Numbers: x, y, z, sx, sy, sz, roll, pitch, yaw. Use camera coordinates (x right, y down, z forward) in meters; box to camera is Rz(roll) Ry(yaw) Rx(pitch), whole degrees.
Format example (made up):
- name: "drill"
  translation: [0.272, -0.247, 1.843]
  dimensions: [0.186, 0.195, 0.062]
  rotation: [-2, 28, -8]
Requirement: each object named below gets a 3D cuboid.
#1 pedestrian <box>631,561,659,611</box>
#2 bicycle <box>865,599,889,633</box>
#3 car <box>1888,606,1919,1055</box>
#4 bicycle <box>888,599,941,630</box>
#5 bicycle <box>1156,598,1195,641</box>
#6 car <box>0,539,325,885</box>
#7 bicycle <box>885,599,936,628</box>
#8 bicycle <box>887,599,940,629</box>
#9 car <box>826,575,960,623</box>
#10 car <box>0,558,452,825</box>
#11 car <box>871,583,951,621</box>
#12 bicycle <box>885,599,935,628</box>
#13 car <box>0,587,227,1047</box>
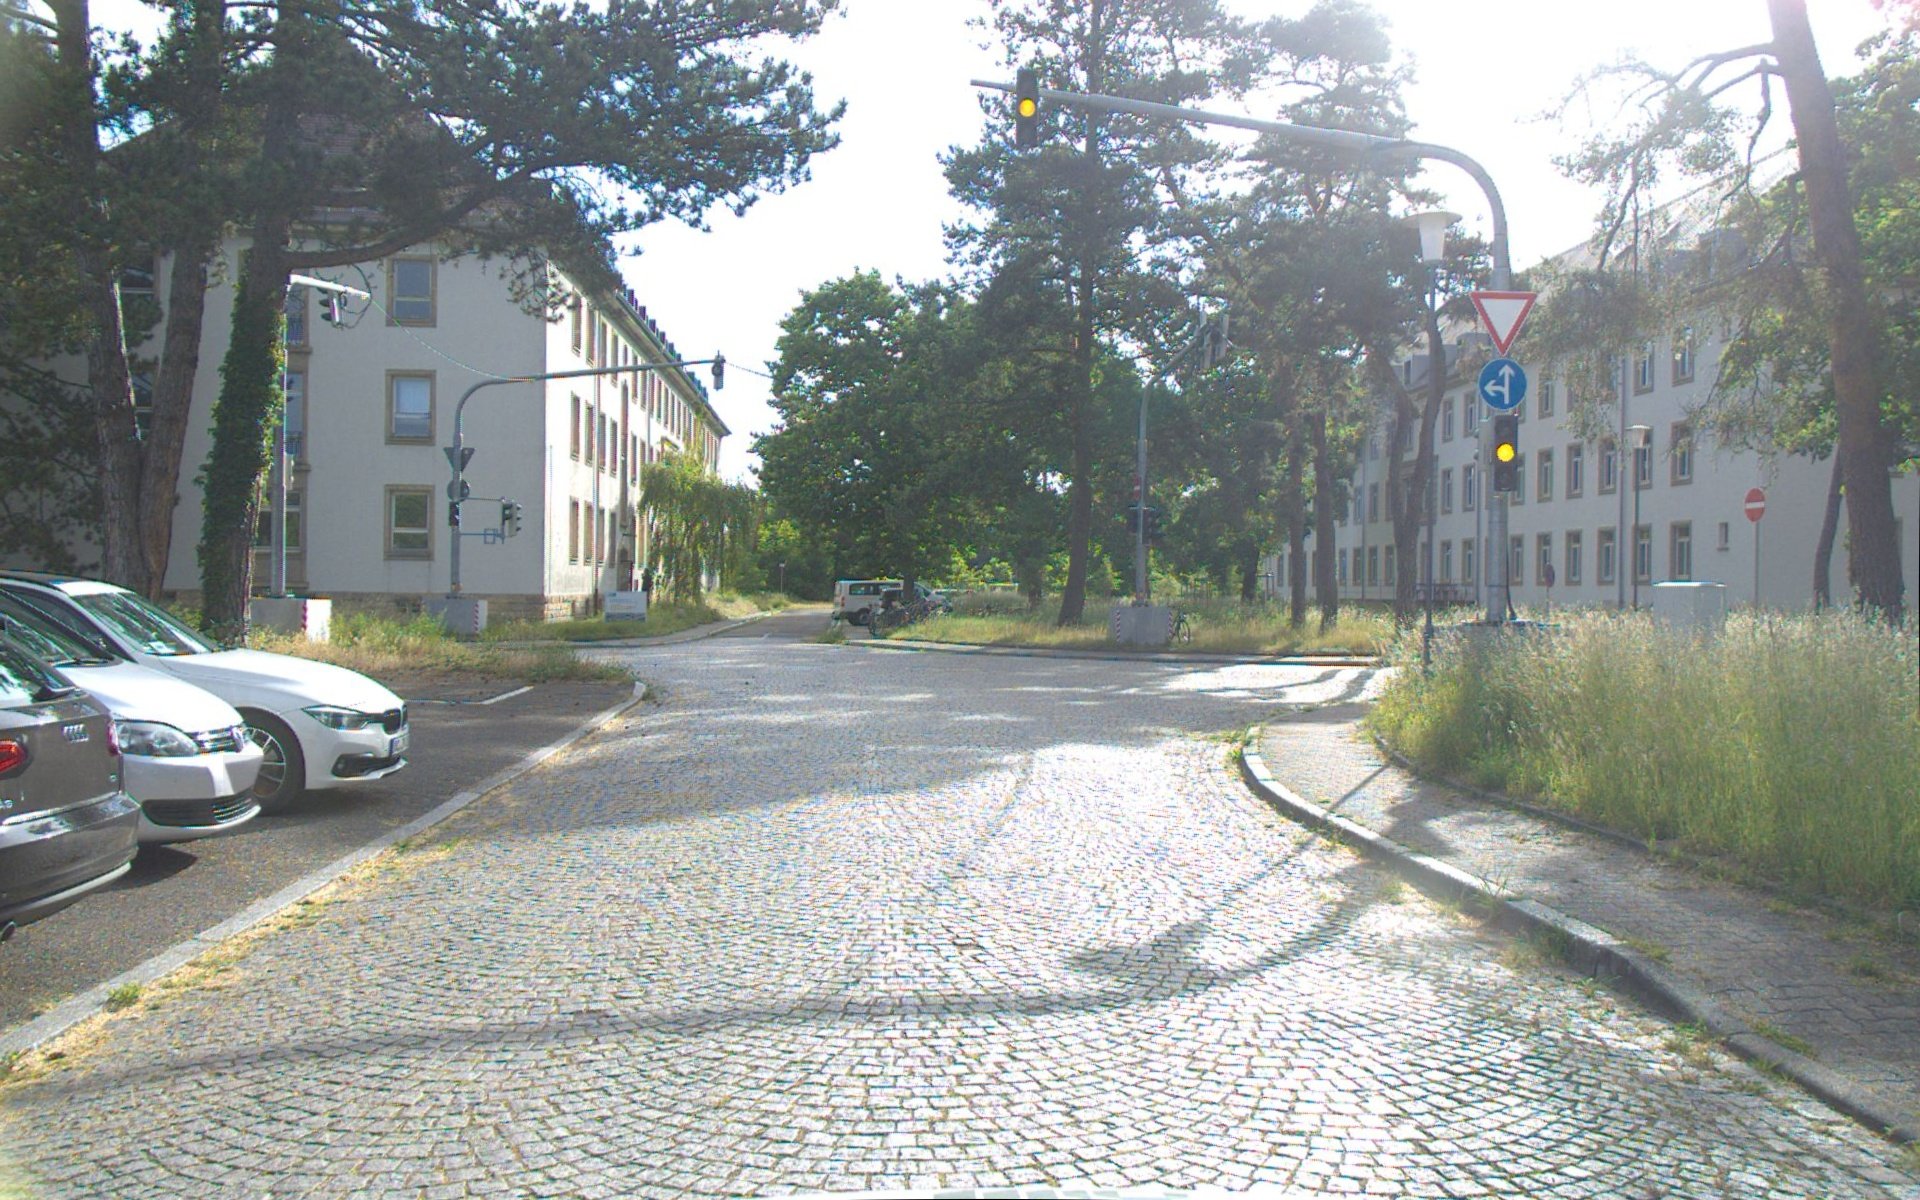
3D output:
- name: "pedestrian"
  translation: [-12.816, -0.569, 67.270]
  dimensions: [0.966, 1.998, 0.932]
  rotation: [1, 0, -5]
- name: "bicycle"
  translation: [-2.627, 0.488, 52.062]
  dimensions: [0.714, 1.016, 1.797]
  rotation: [0, 1, -4]
- name: "car"
  translation: [5.569, 0.787, 5.088]
  dimensions: [4.456, 1.531, 1.931]
  rotation: [0, 0, -6]
- name: "bicycle"
  translation: [-1.531, 0.477, 55.742]
  dimensions: [1.758, 1.016, 0.643]
  rotation: [0, 1, -5]
- name: "bicycle"
  translation: [5.472, 0.479, 42.067]
  dimensions: [0.551, 1.016, 1.749]
  rotation: [0, 1, -8]
- name: "car"
  translation: [-5.731, 0.453, 8.711]
  dimensions: [4.045, 1.627, 1.855]
  rotation: [4, -1, -9]
- name: "bicycle"
  translation: [-1.740, 0.478, 58.253]
  dimensions: [1.758, 1.016, 0.643]
  rotation: [0, 1, -5]
- name: "bicycle"
  translation: [-1.603, 0.479, 56.759]
  dimensions: [1.758, 1.016, 0.643]
  rotation: [0, 1, -5]
- name: "car"
  translation: [-2.917, -0.031, 71.606]
  dimensions: [5.415, 1.949, 2.243]
  rotation: [1, 0, -18]
- name: "car"
  translation: [-5.995, 0.523, 11.238]
  dimensions: [4.500, 1.480, 1.901]
  rotation: [4, 1, -7]
- name: "car"
  translation: [-2.020, 0.106, 68.100]
  dimensions: [2.984, 1.491, 1.712]
  rotation: [1, -1, -17]
- name: "bicycle"
  translation: [-1.784, 0.478, 58.990]
  dimensions: [1.758, 1.016, 0.643]
  rotation: [0, 1, -5]
- name: "car"
  translation: [-5.013, 0.607, 6.065]
  dimensions: [3.754, 1.454, 1.857]
  rotation: [4, 0, -5]
